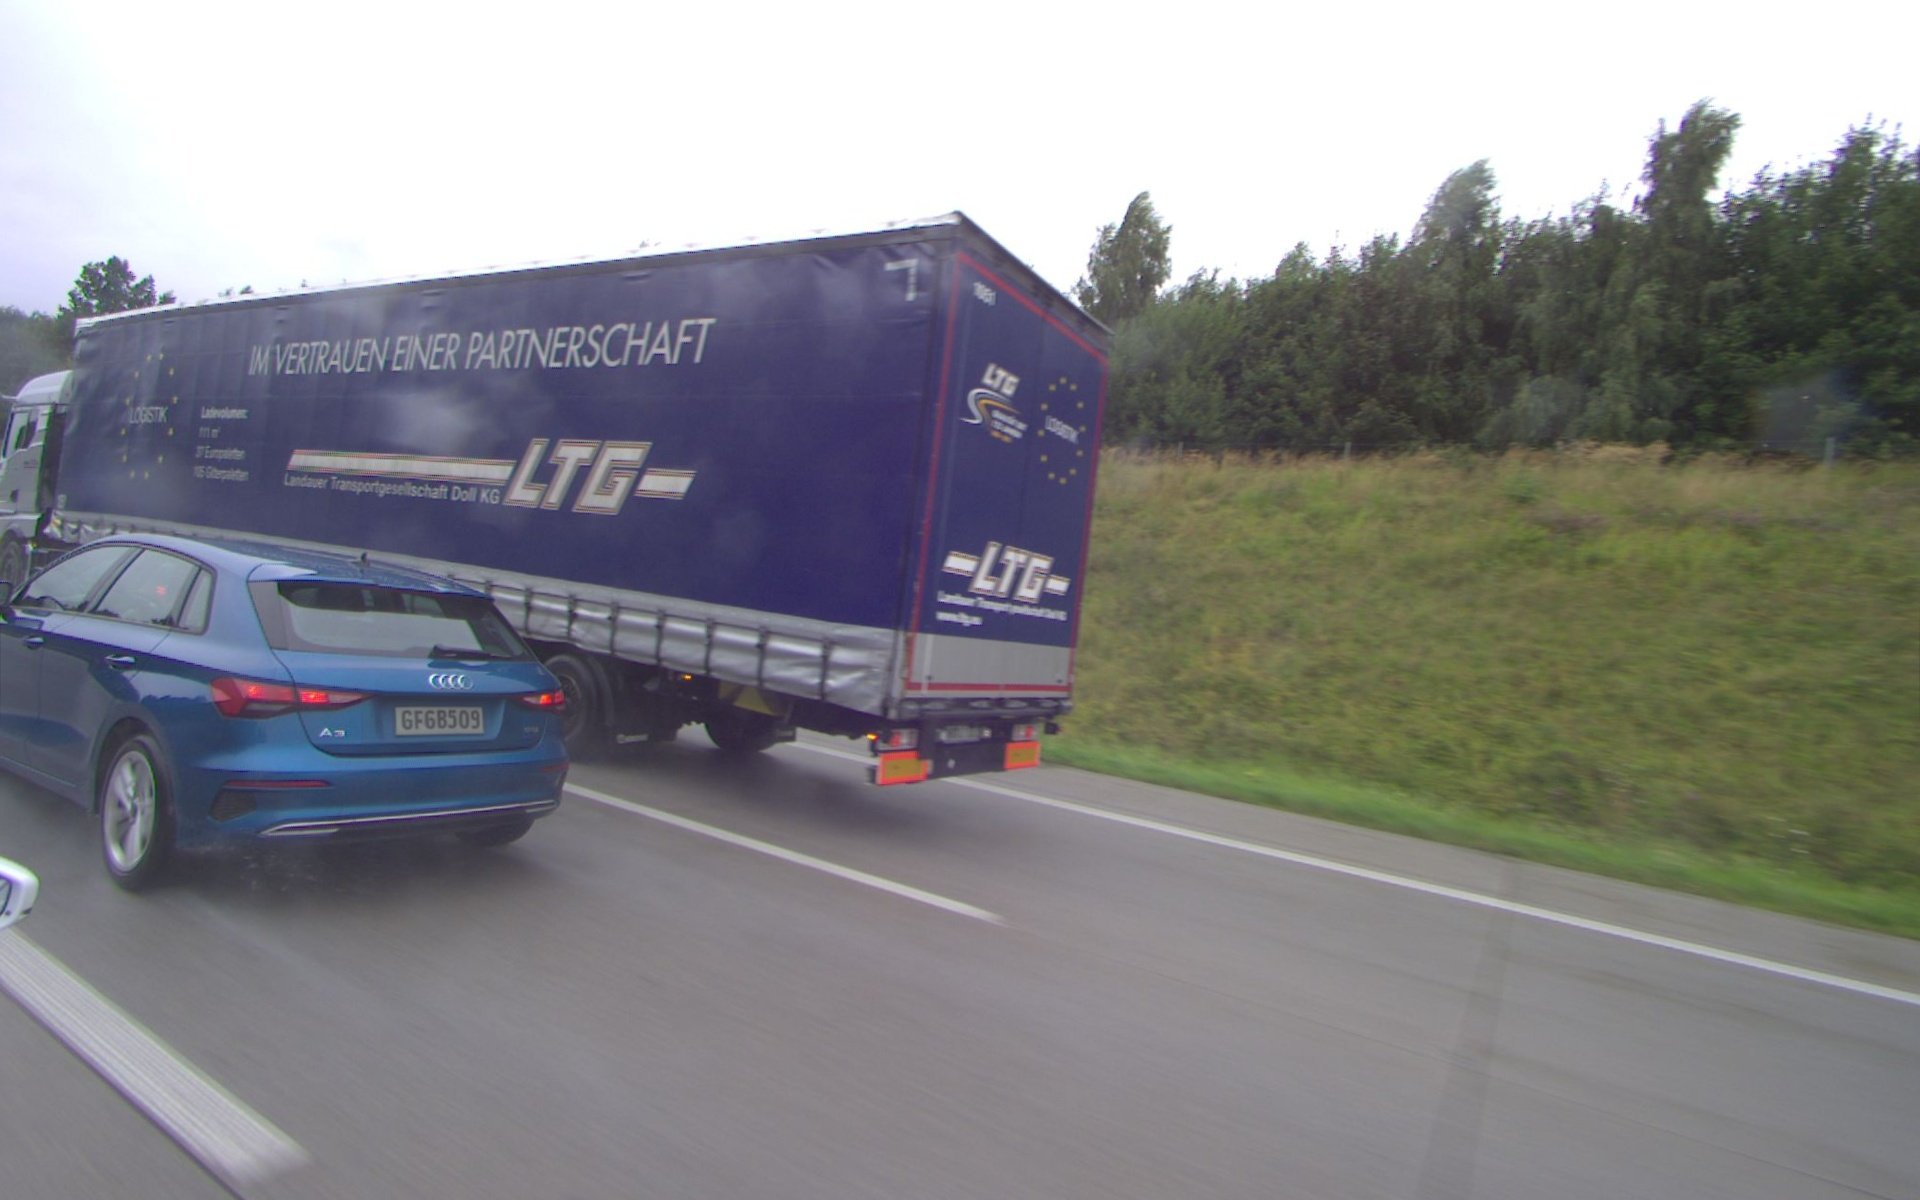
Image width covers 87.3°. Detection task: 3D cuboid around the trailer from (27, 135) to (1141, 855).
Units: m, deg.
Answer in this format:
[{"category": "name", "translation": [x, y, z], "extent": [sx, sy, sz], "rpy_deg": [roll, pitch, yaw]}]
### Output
[{"category": "trailer", "translation": [-5.745, -1.232, 11.258], "extent": [14.953, 4.431, 2.711], "rpy_deg": [7, -1, 32]}]

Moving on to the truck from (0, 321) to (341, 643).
[{"category": "truck", "translation": [-12.601, -1.738, 15.508], "extent": [5.592, 4.001, 2.640], "rpy_deg": [7, -1, 32]}]

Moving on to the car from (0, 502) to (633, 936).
[{"category": "car", "translation": [-4.109, 0.338, 5.543], "extent": [4.595, 1.477, 1.731], "rpy_deg": [6, -1, 32]}]
